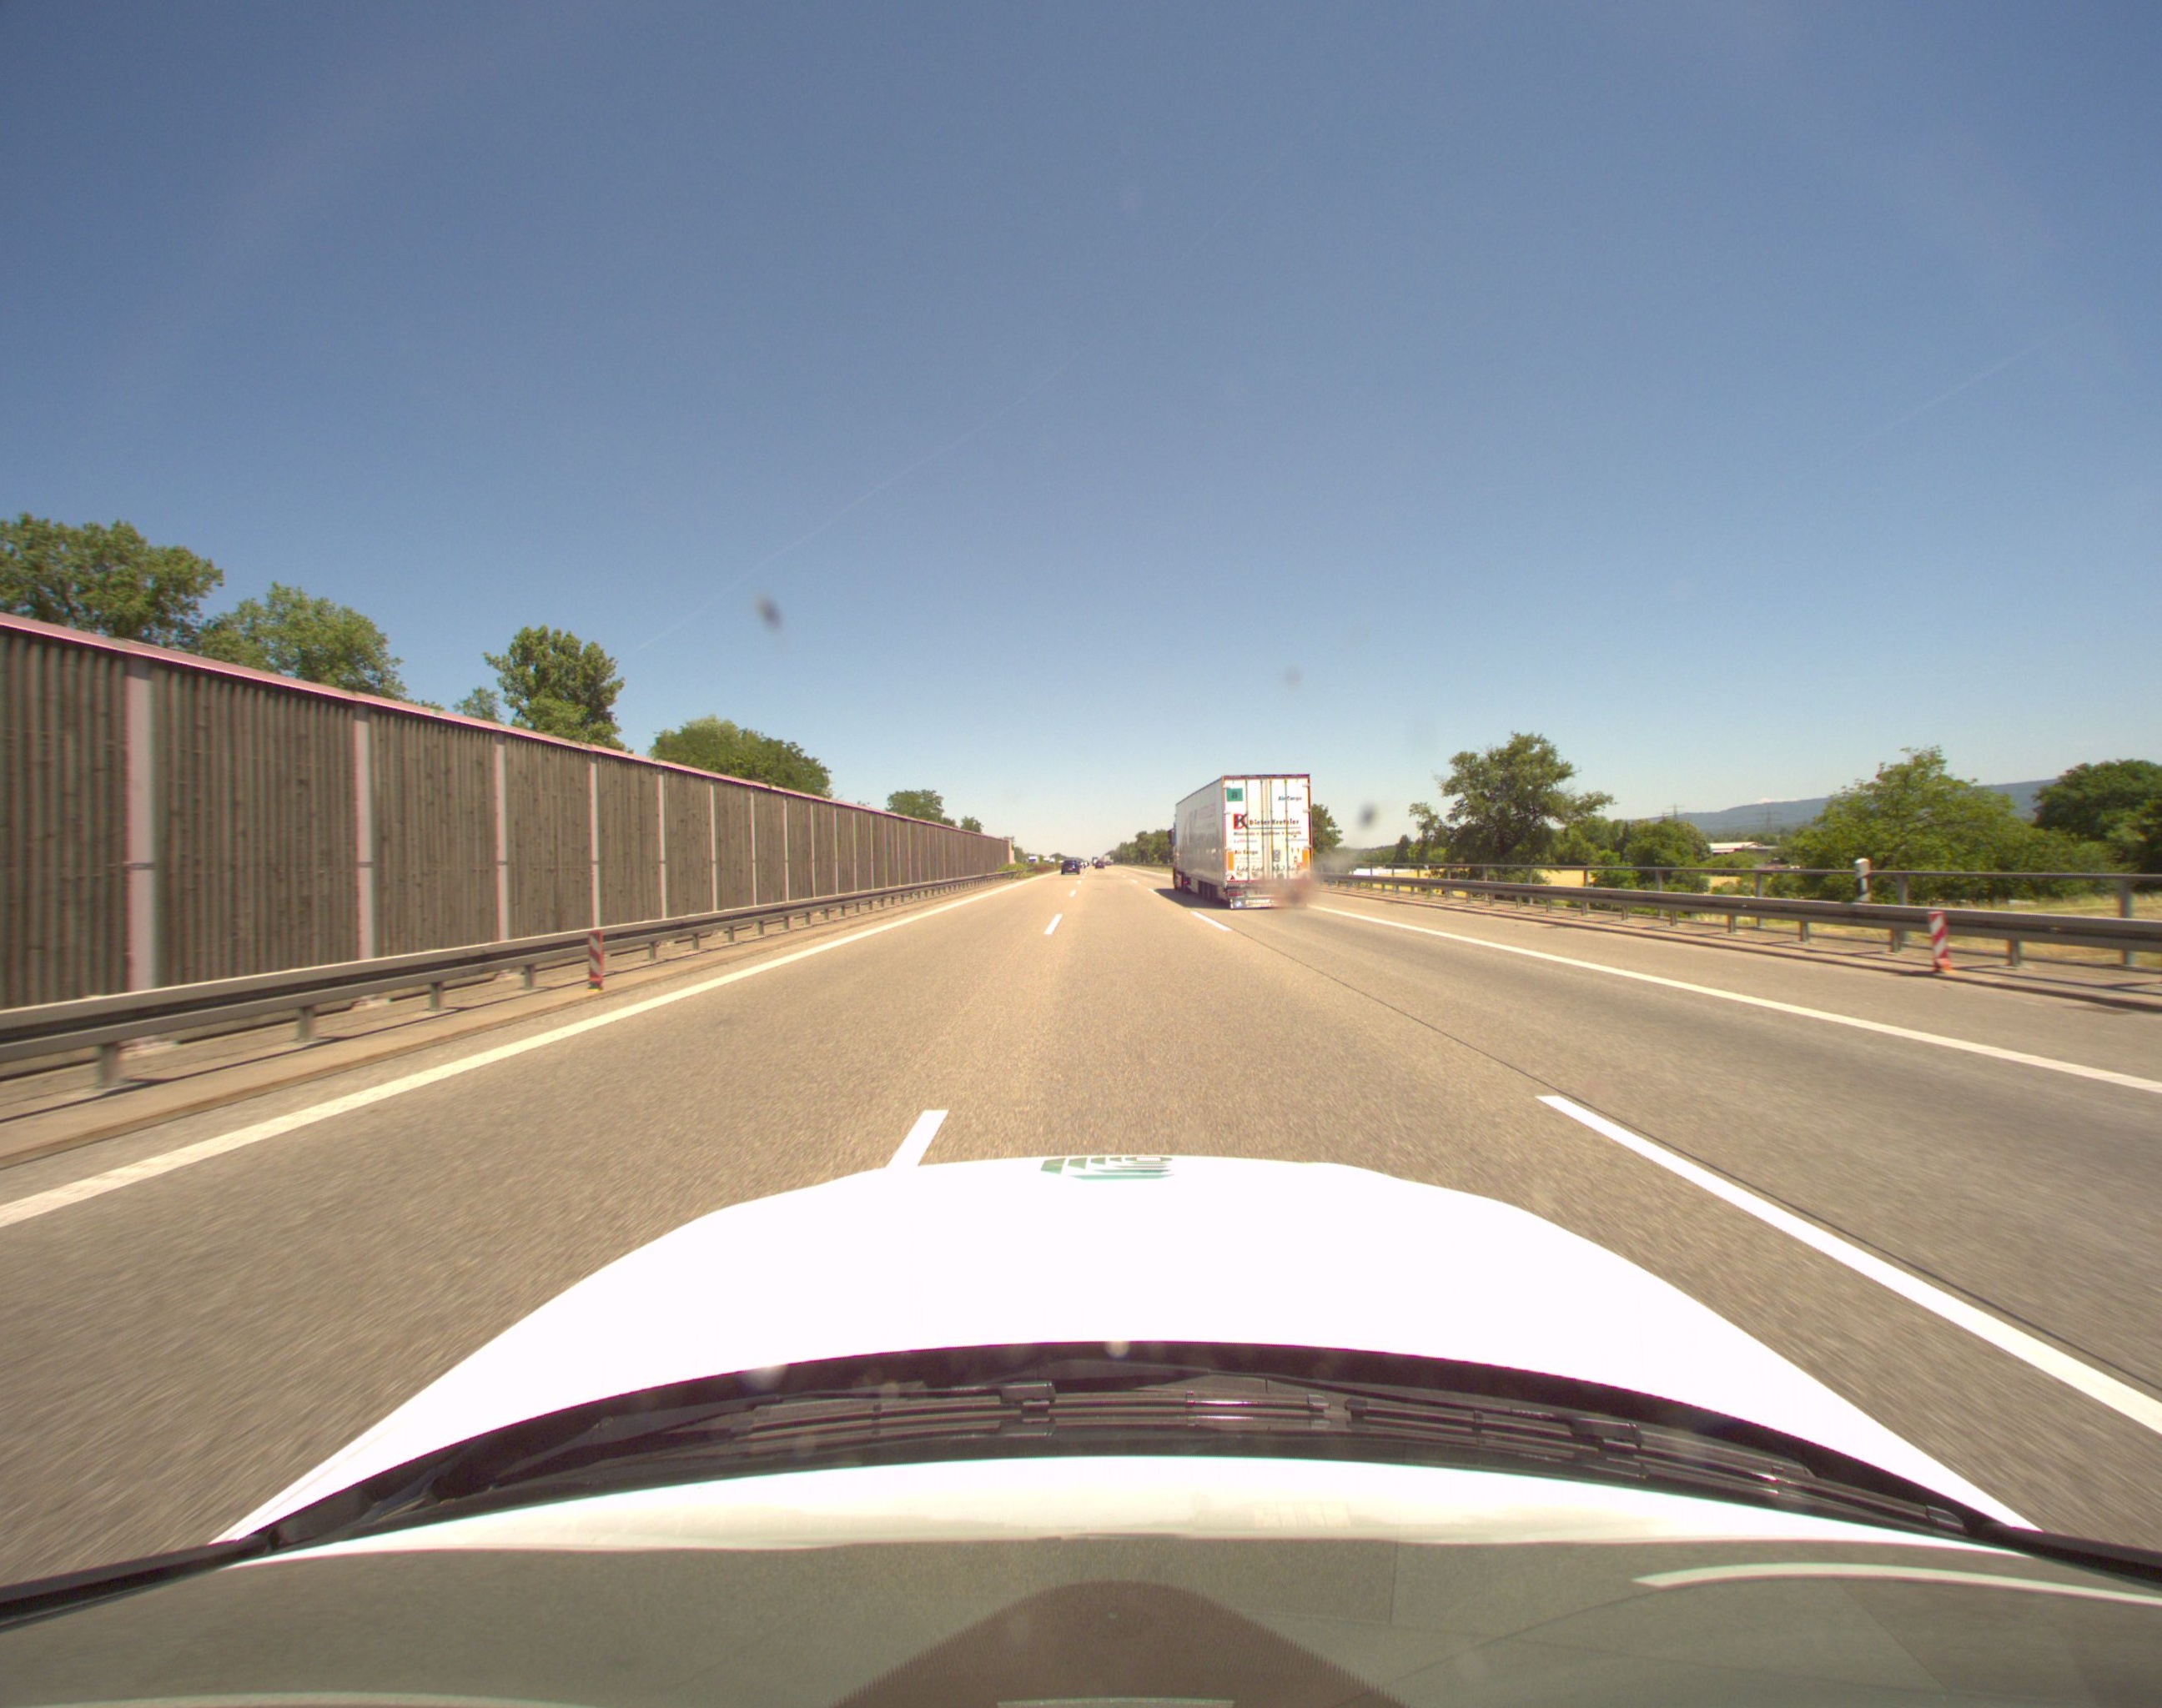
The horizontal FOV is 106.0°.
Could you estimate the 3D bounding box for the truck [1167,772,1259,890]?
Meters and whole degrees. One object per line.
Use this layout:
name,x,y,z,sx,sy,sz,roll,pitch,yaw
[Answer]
truck,5.893,-0.953,37.563,3.222,4.889,6.974,-1,0,1

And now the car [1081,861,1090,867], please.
car,1.220,2.706,219.588,2.121,1.645,4.305,-2,-1,1

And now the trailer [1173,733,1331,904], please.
trailer,5.674,-1.036,30.323,3.257,4.837,14.033,-1,0,2

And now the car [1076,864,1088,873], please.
car,0.243,2.767,157.132,2.121,1.645,4.305,-2,-1,1

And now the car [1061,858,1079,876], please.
car,-1.143,1.421,87.859,1.874,1.792,3.999,-1,0,0

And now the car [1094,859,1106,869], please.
car,3.374,1.748,144.336,1.896,1.584,4.305,-2,-1,1
